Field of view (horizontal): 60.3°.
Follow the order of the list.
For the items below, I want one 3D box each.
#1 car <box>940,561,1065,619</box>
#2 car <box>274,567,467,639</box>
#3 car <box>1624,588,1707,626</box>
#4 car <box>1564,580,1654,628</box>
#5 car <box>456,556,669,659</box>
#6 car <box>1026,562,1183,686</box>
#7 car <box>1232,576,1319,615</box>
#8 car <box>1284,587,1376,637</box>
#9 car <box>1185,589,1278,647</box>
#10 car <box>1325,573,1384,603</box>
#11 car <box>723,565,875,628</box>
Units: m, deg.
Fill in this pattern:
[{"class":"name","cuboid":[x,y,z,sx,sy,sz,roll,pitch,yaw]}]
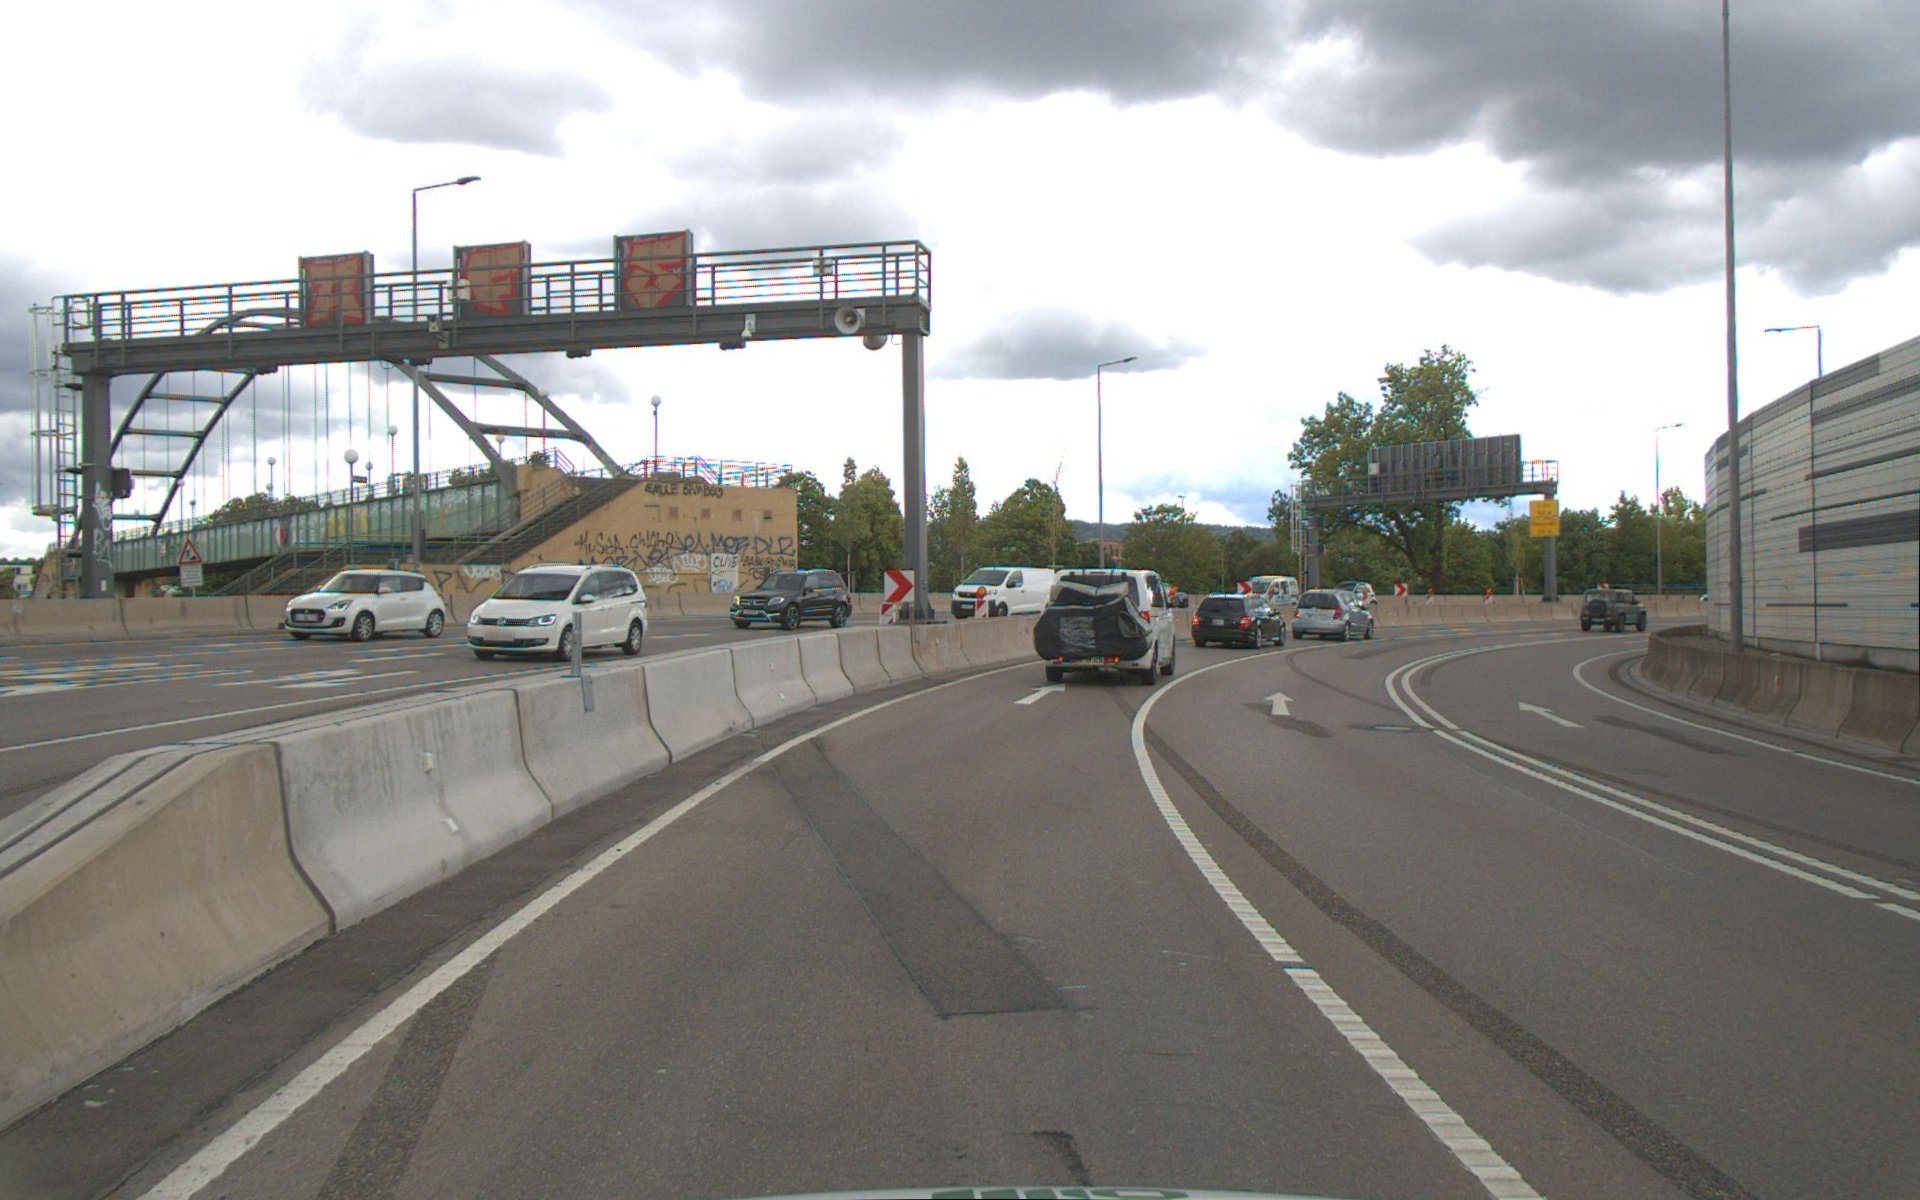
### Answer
[{"class":"car","cuboid":[1.578,-0.362,59.298,2.197,1.986,5.092,0,0,32]},{"class":"car","cuboid":[-12.715,0.054,35.927,1.723,1.459,4.146,0,0,20]},{"class":"car","cuboid":[32.802,0.318,76.847,3.963,1.702,1.971,0,2,-40]},{"class":"car","cuboid":[26.538,0.178,67.589,3.968,1.892,1.969,0,0,-43]},{"class":"car","cuboid":[-7.400,0.129,31.438,1.908,1.780,5.279,0,0,11]},{"class":"car","cuboid":[2.609,0.349,28.476,1.950,1.891,5.646,1,1,12]},{"class":"car","cuboid":[14.156,-0.209,74.008,1.964,1.715,4.235,1,1,41]},{"class":"car","cuboid":[11.899,0.341,53.008,1.884,1.515,4.059,0,1,28]},{"class":"car","cuboid":[7.411,0.466,44.870,1.777,1.459,4.066,-1,0,19]},{"class":"car","cuboid":[20.347,-0.624,85.263,2.915,1.501,1.606,0,1,-42]},{"class":"car","cuboid":[-4.591,-0.123,47.896,1.956,1.725,4.919,1,1,29]}]
